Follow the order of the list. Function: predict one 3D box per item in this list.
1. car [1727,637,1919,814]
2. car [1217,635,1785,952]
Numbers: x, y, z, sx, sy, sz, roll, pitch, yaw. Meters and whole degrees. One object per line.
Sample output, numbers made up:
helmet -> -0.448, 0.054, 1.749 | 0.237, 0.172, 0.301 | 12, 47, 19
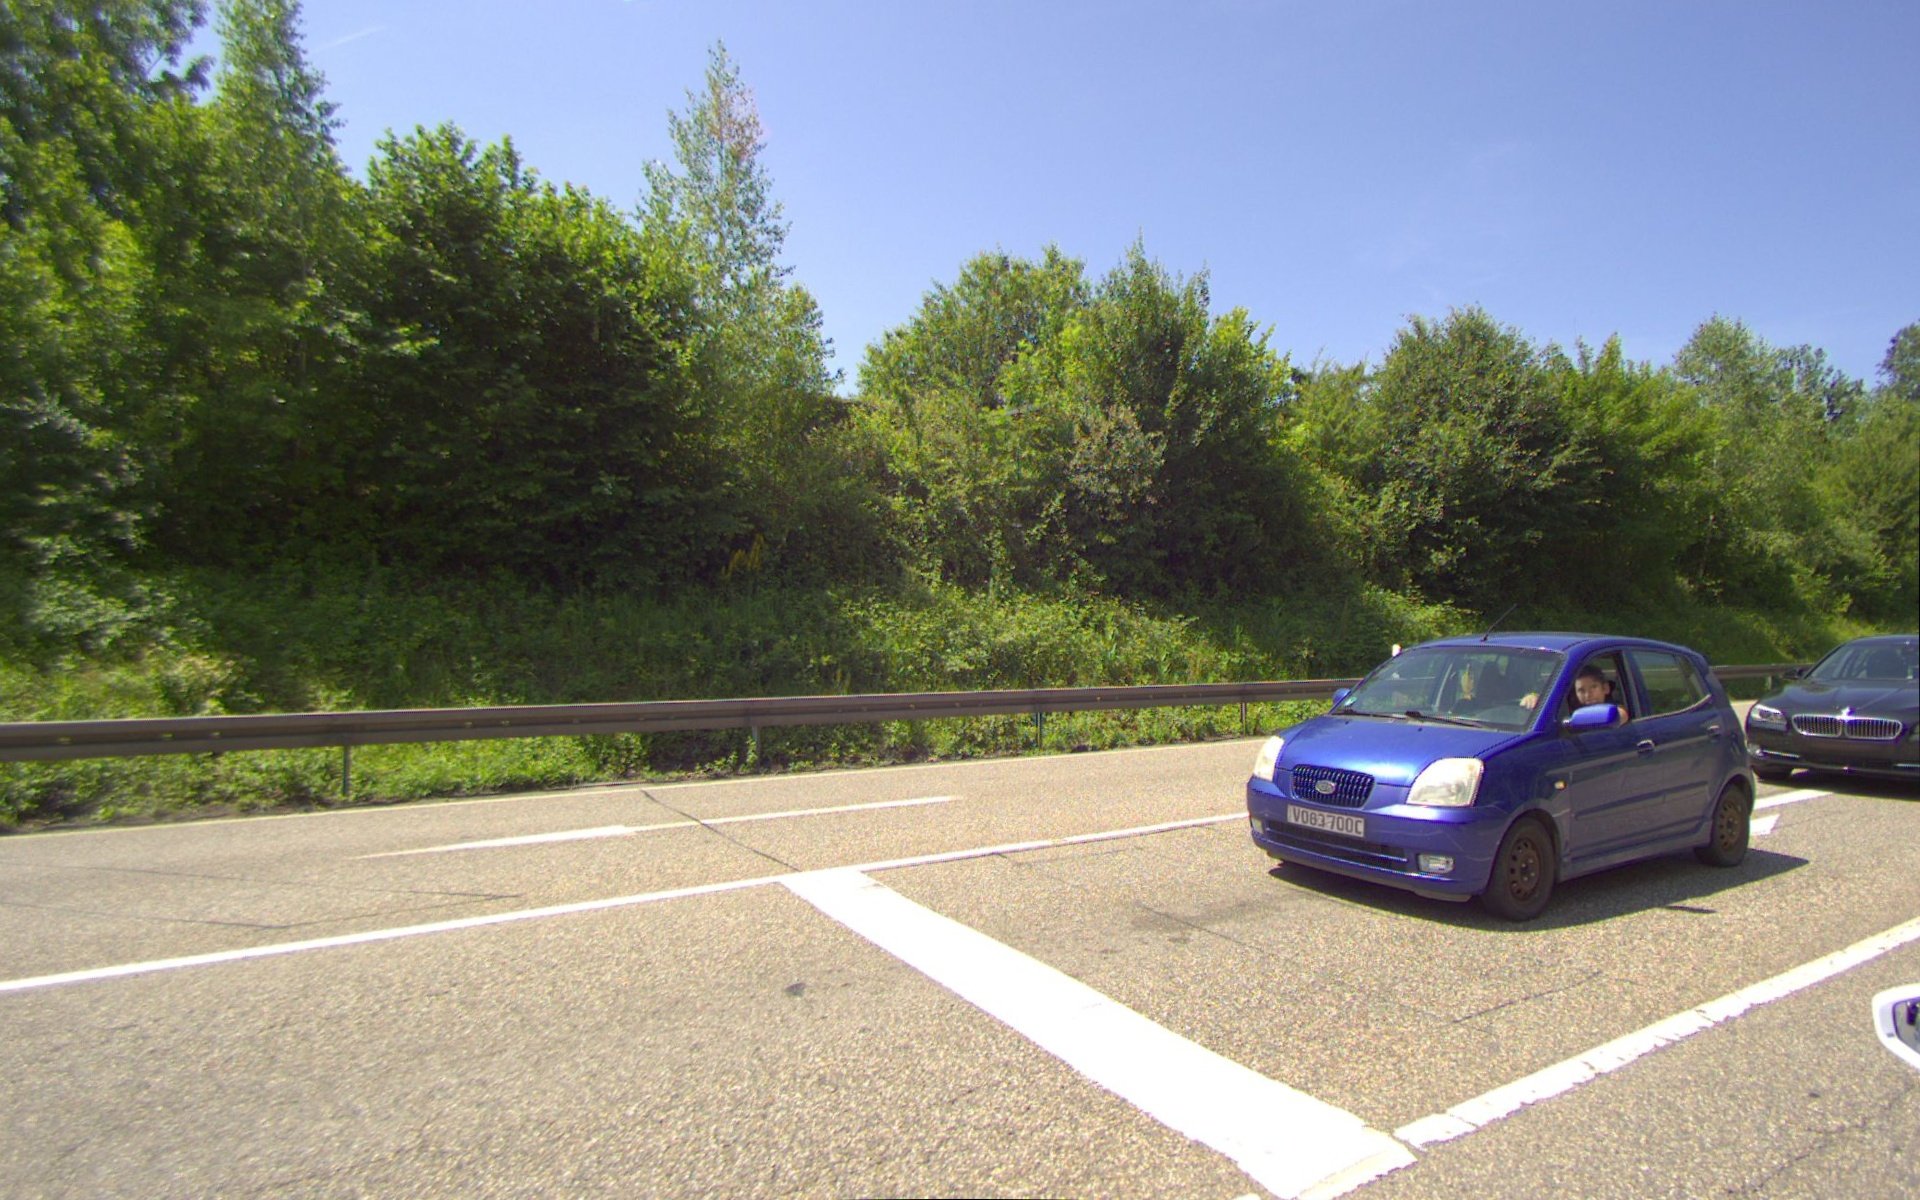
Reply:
car -> 9.829, 1.133, 10.285 | 4.592, 1.466, 1.771 | 1, -2, -34
car -> 3.540, 0.967, 6.404 | 3.728, 1.459, 1.558 | 1, -2, -32
